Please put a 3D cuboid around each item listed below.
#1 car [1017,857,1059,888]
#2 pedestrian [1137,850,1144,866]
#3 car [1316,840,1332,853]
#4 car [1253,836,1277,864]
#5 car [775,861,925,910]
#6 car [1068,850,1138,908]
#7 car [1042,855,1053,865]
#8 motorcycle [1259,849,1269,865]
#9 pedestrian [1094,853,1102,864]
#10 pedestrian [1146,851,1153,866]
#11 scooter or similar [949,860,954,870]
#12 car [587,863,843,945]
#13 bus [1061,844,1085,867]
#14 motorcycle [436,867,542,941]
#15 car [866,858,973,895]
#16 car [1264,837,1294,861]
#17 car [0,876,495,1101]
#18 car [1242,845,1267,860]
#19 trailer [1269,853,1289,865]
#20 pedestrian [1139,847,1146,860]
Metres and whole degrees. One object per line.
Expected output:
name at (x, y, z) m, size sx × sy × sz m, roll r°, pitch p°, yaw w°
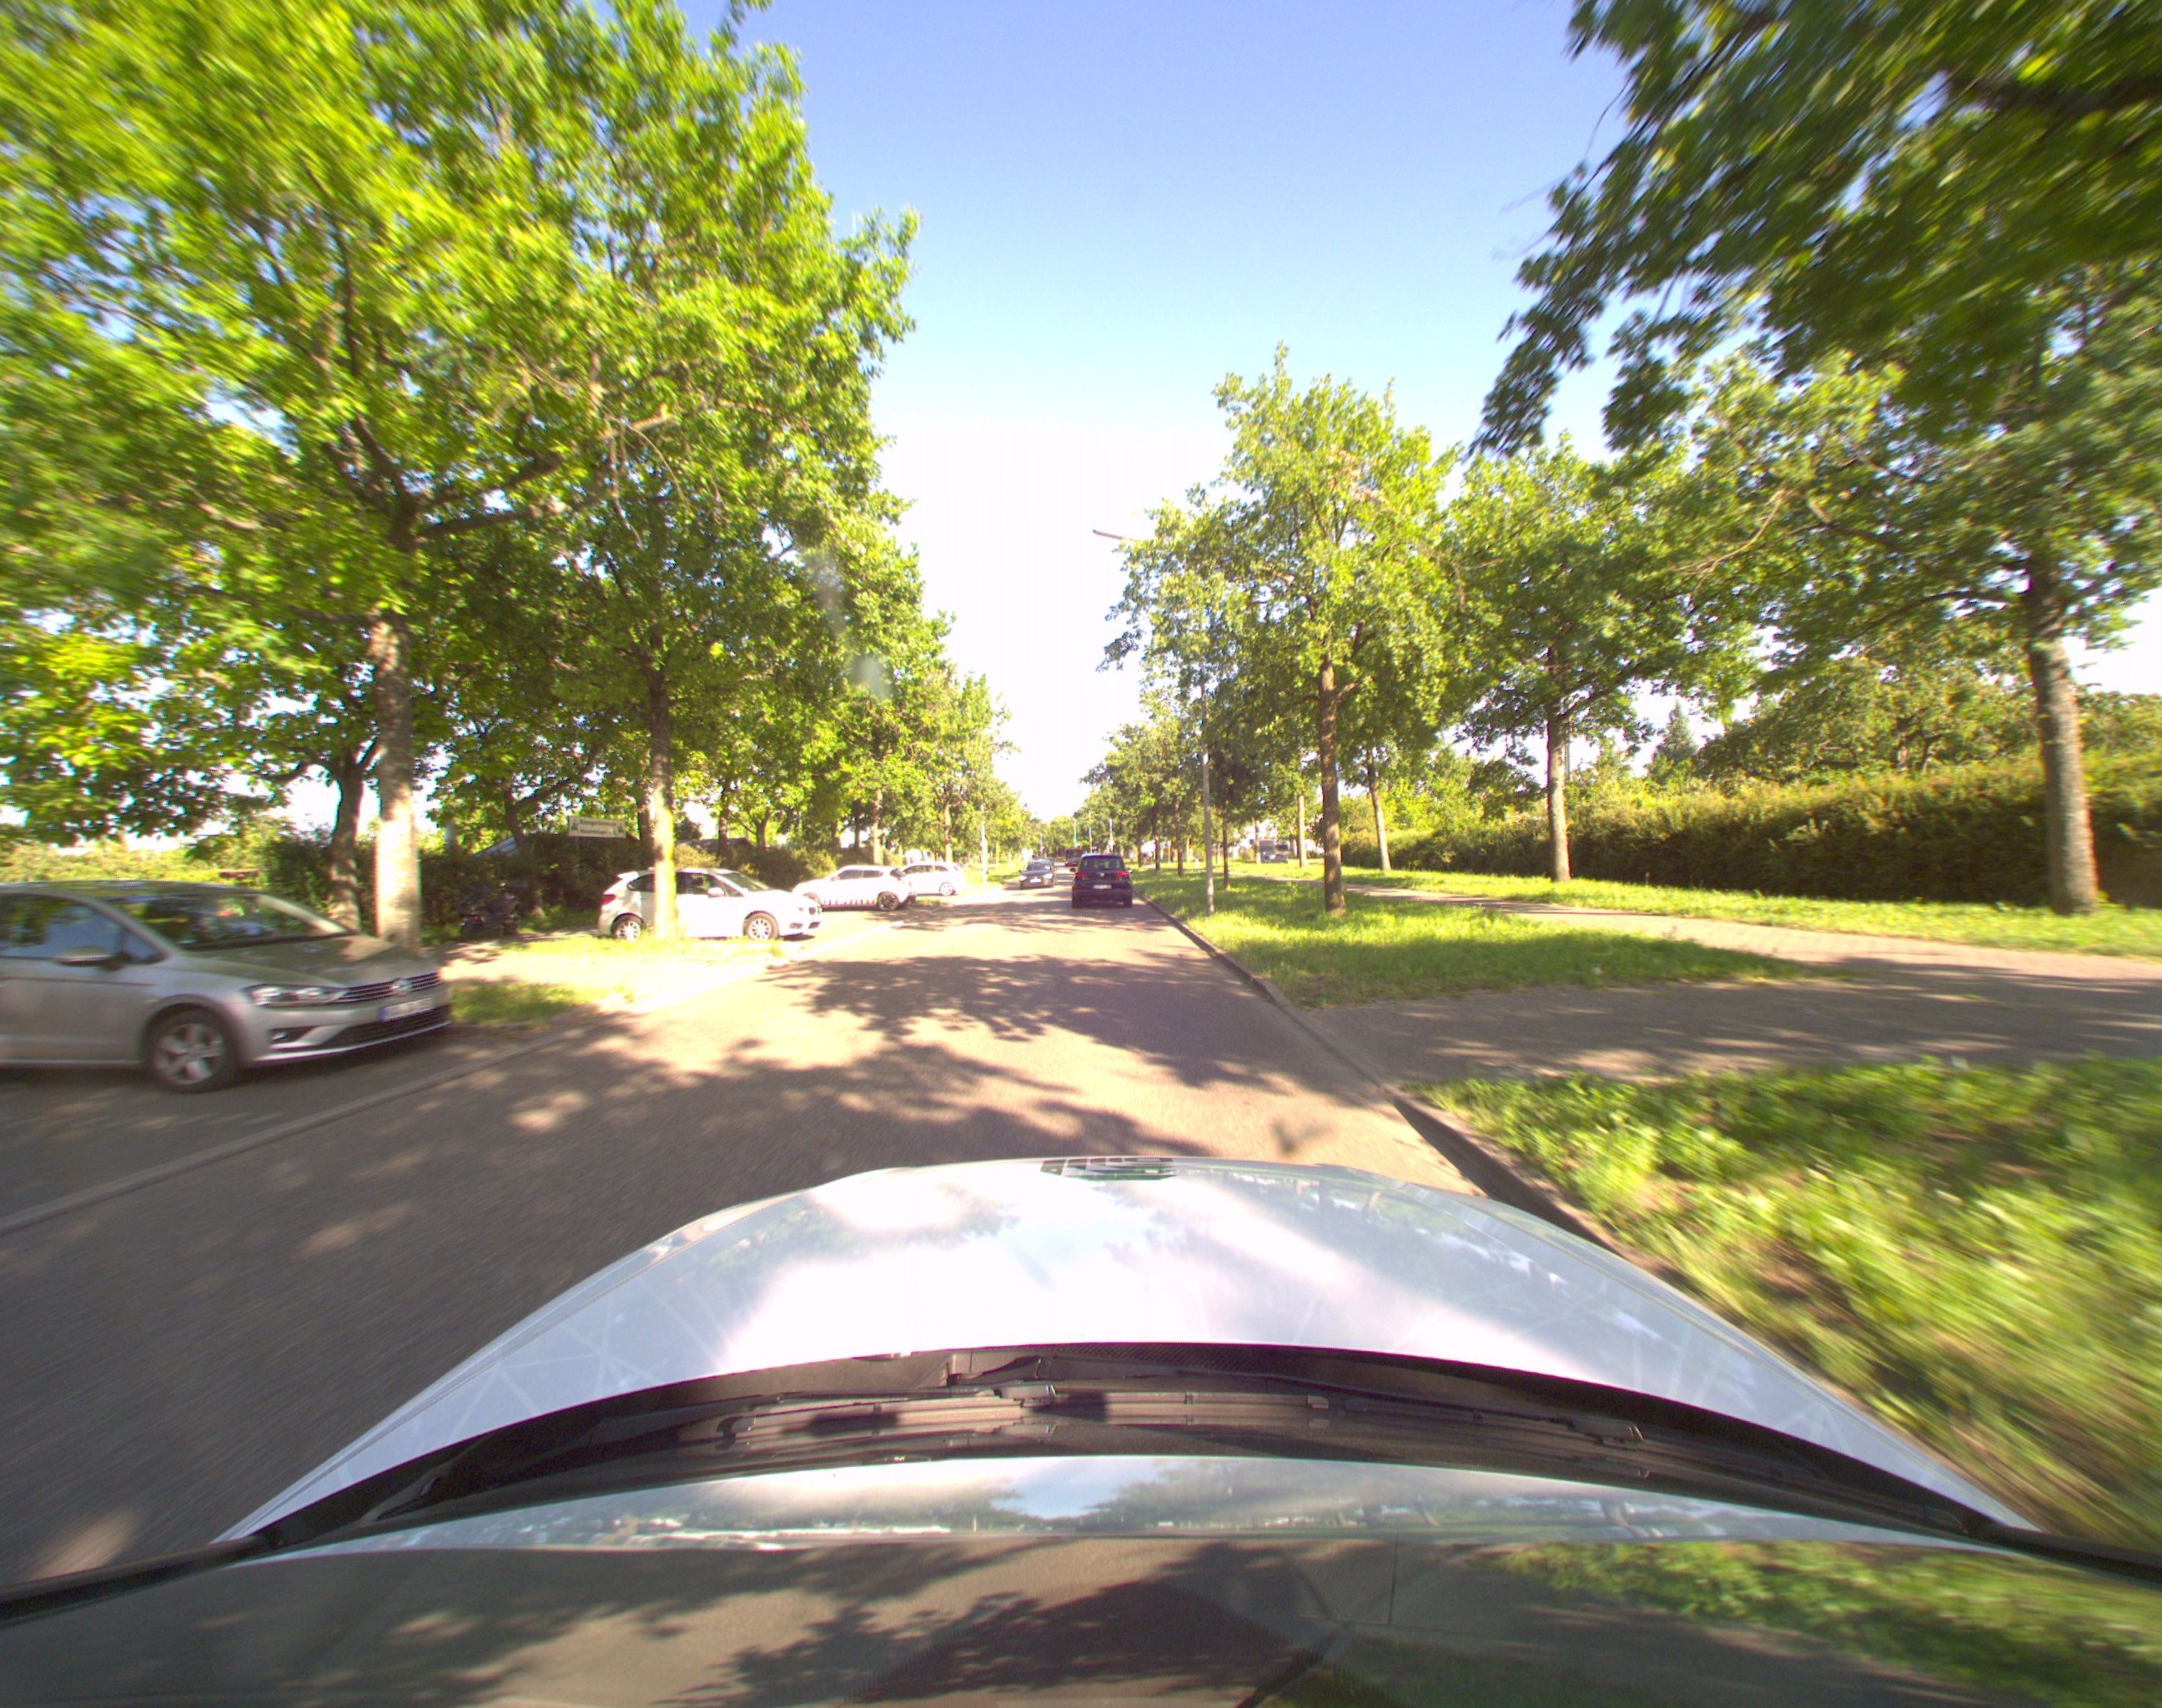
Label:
car at (-2.202, 0.938, 42.877) m, size 1.677 × 1.402 × 4.430 m, roll -3°, pitch 0°, yaw 3°
pedestrian at (7.008, 0.438, 95.845) m, size 0.724 × 1.812 × 0.867 m, roll -2°, pitch 2°, yaw -3°
car at (31.218, -0.981, 104.688) m, size 1.821 × 1.640 × 4.017 m, roll -2°, pitch 0°, yaw 15°
car at (19.147, -0.449, 84.884) m, size 2.072 × 2.565 × 5.990 m, roll -1°, pitch 3°, yaw 10°
car at (-7.681, 1.028, 27.433) m, size 4.399 × 1.511 × 2.087 m, roll -1°, pitch 0°, yaw -1°
car at (0.598, 0.714, 26.007) m, size 1.931 × 1.656 × 4.423 m, roll -1°, pitch 0°, yaw -2°
car at (-5.665, 1.009, 138.098) m, size 1.761 × 1.528 × 4.491 m, roll -4°, pitch 0°, yaw -2°
motorcycle at (16.735, 0.285, 74.498) m, size 0.659 × 1.231 × 2.412 m, roll -2°, pitch -4°, yaw 9°
pedestrian at (2.675, 0.648, 126.889) m, size 1.017 × 1.651 × 1.098 m, roll -2°, pitch 0°, yaw -3°
pedestrian at (8.501, 0.519, 101.019) m, size 0.724 × 1.755 × 0.867 m, roll -4°, pitch 0°, yaw -2°
scooter or similar at (-16.371, 1.365, 102.807) m, size 0.394 × 1.279 × 1.440 m, roll -2°, pitch 0°, yaw -1°
car at (-7.546, 1.002, 17.151) m, size 4.396 × 1.556 × 2.089 m, roll -1°, pitch 0°, yaw 1°
bus at (-1.396, 0.216, 129.116) m, size 2.760 × 3.456 × 11.189 m, roll -2°, pitch 0°, yaw -5°
motorcycle at (-12.531, 1.018, 17.335) m, size 0.735 × 1.433 × 1.991 m, roll 1°, pitch 0°, yaw 1°
car at (-7.483, 1.027, 38.133) m, size 4.617 × 1.558 × 2.188 m, roll -1°, pitch 0°, yaw -4°
car at (23.093, -0.541, 95.109) m, size 2.155 × 2.643 × 4.847 m, roll -2°, pitch 0°, yaw -2°
car at (-7.686, 1.015, 6.860) m, size 4.121 × 1.556 × 1.866 m, roll -1°, pitch 0°, yaw 1°
car at (20.483, -0.126, 96.146) m, size 2.000 × 1.664 × 3.594 m, roll -2°, pitch 0°, yaw -2°
trailer at (17.604, 0.443, 72.586) m, size 1.569 × 0.868 × 2.059 m, roll -2°, pitch -4°, yaw 10°
pedestrian at (7.587, -0.057, 100.264) m, size 0.724 × 1.603 × 0.867 m, roll -2°, pitch 0°, yaw -3°
